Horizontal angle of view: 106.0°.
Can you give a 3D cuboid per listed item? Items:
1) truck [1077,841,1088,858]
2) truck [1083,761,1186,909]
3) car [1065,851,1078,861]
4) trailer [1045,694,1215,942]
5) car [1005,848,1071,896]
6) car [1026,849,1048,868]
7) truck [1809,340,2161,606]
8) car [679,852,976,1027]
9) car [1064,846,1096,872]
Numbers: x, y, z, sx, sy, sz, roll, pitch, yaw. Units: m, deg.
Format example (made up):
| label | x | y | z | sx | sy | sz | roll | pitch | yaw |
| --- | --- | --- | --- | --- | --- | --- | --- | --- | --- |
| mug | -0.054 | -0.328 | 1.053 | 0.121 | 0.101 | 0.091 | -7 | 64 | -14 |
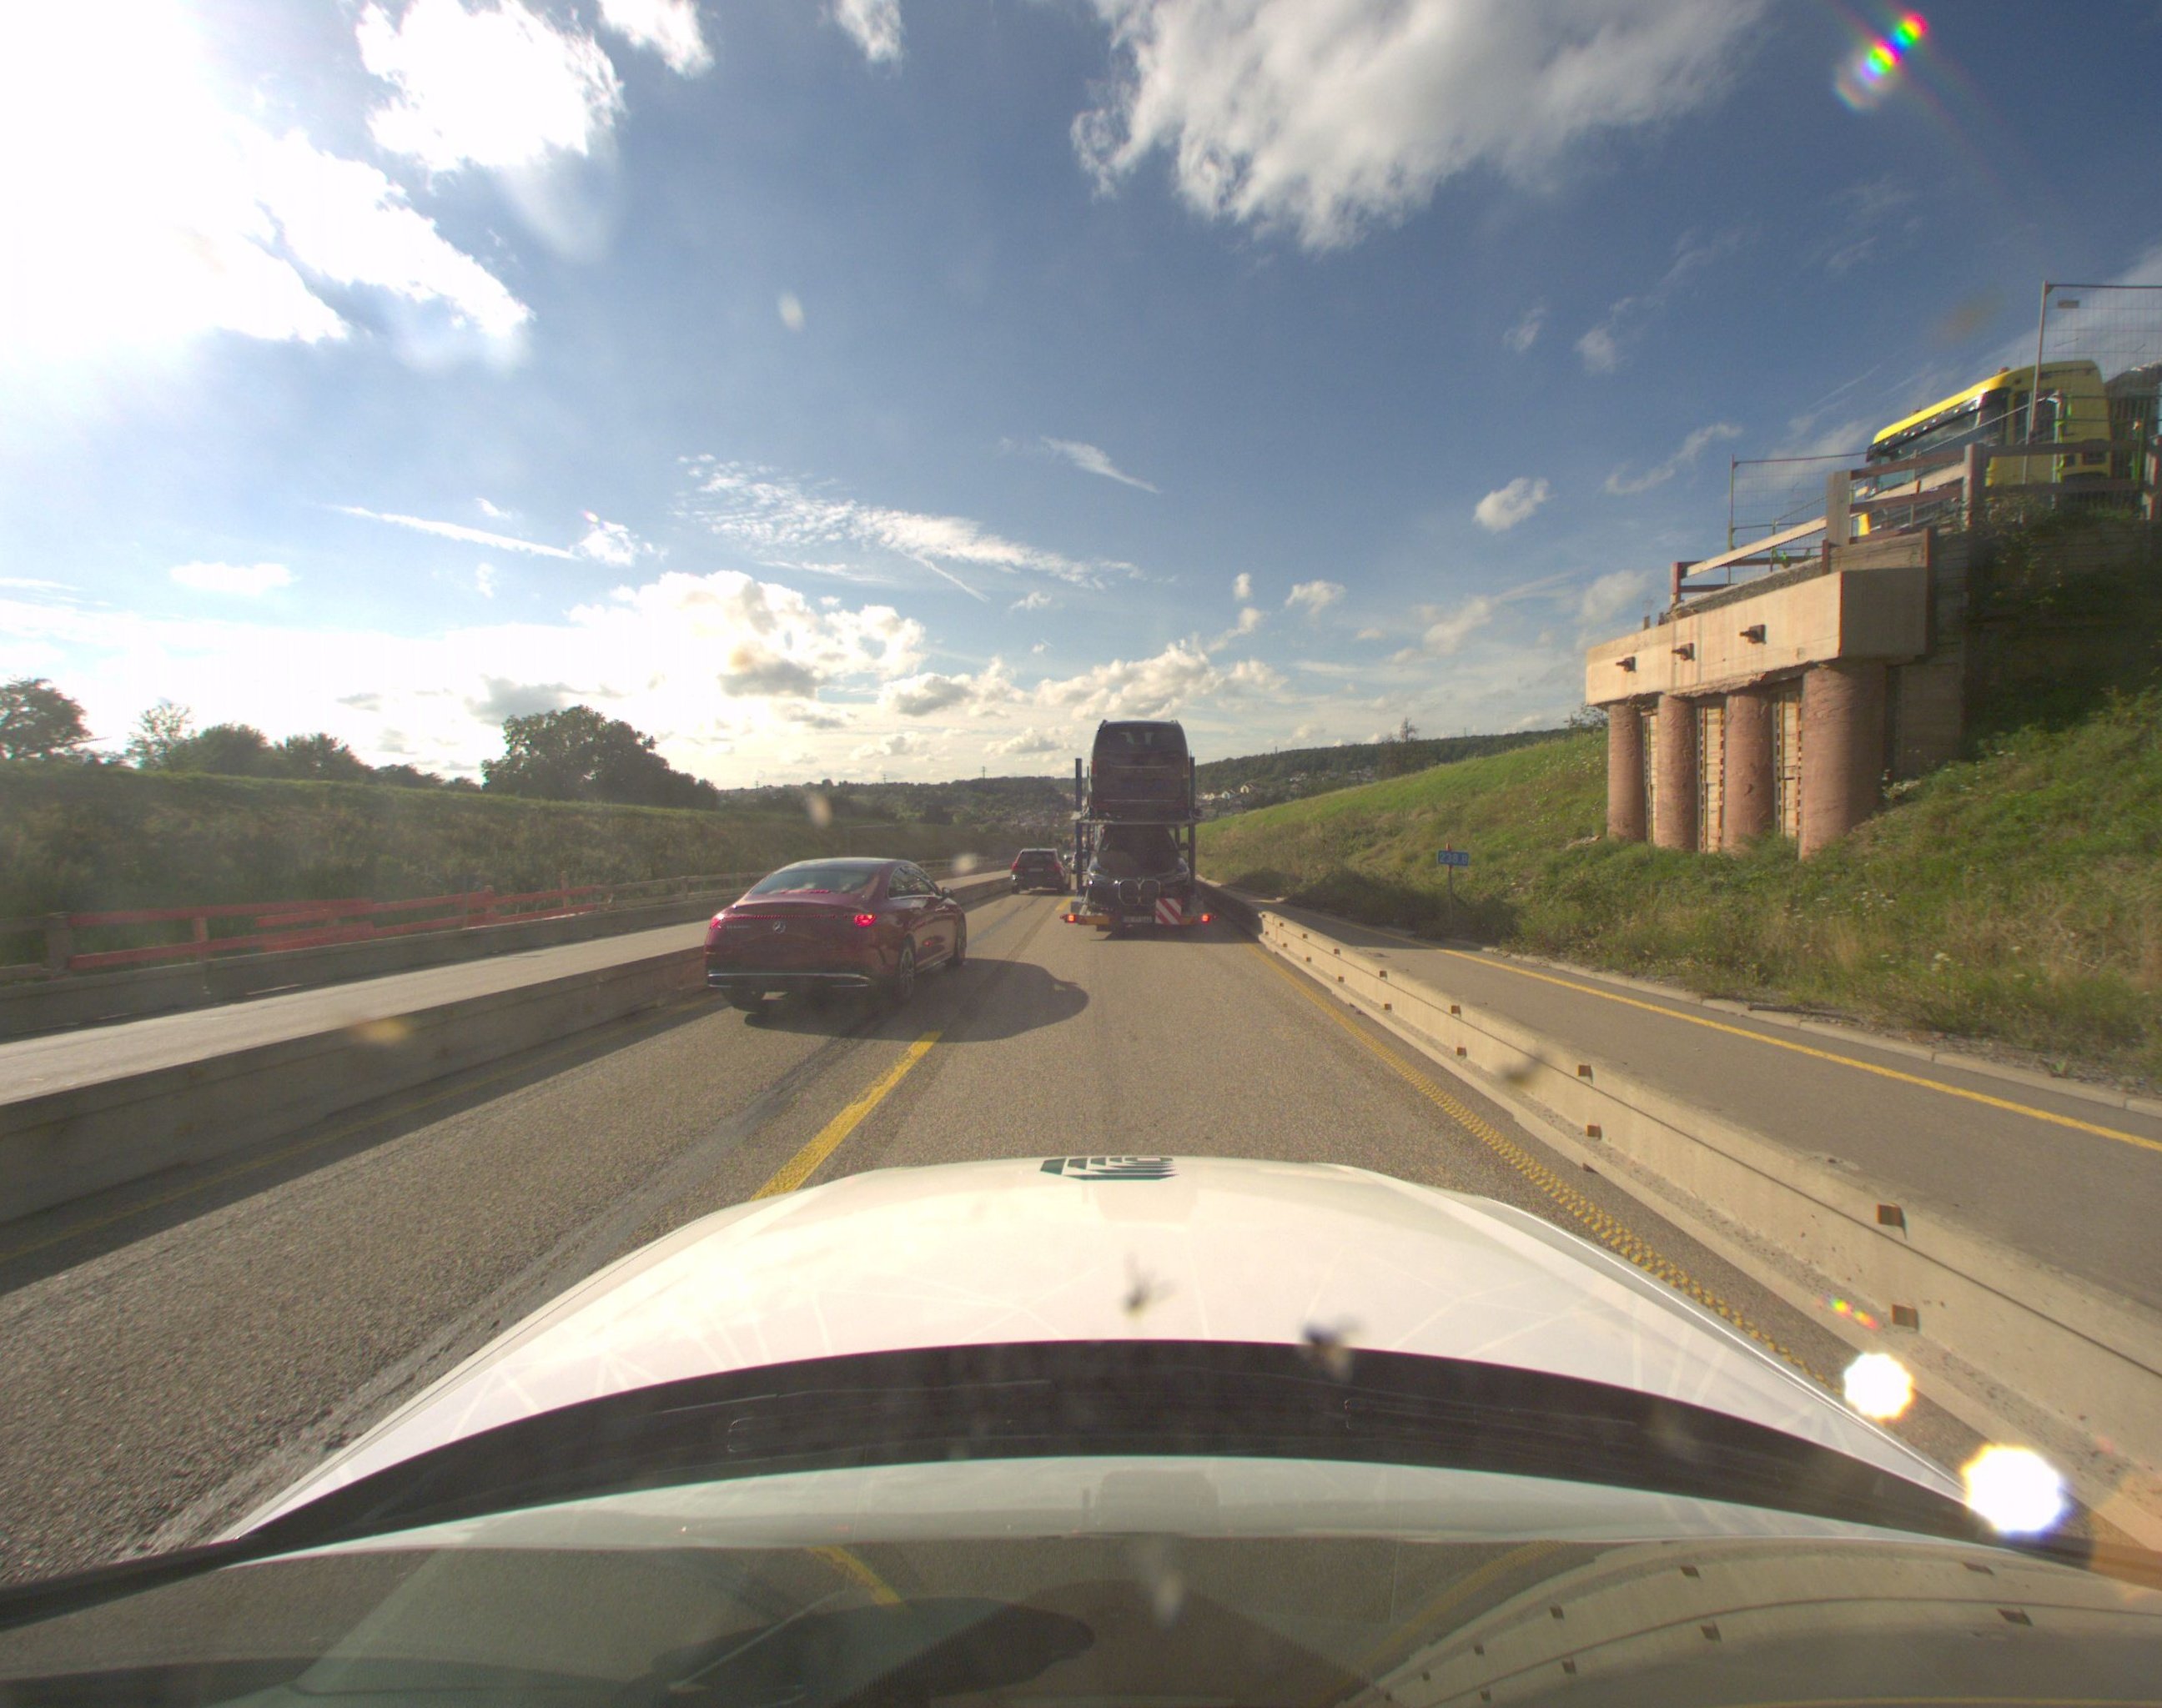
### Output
| label | x | y | z | sx | sy | sz | roll | pitch | yaw |
| --- | --- | --- | --- | --- | --- | --- | --- | --- | --- |
| truck | 0.474 | -1.173 | 200.266 | 2.606 | 4.153 | 5.781 | -1 | 0 | 0 |
| truck | 1.593 | -0.524 | 24.868 | 2.667 | 3.922 | 6.032 | -1 | 0 | 3 |
| car | -1.413 | 0.253 | 124.822 | 1.727 | 1.425 | 4.630 | -4 | 0 | 2 |
| trailer | 1.189 | -0.618 | 19.130 | 2.696 | 4.029 | 11.431 | -1 | 0 | 4 |
| car | -1.505 | 0.597 | 30.293 | 1.986 | 1.625 | 4.753 | -1 | 0 | 2 |
| car | -4.370 | 0.407 | 81.769 | 1.727 | 1.659 | 4.219 | -4 | 1 | 1 |
| truck | 18.750 | -6.534 | 14.311 | 9.231 | 3.227 | 2.960 | -1 | 0 | 0 |
| car | -2.541 | 0.749 | 9.512 | 1.816 | 1.492 | 4.687 | 0 | 1 | 2 |
| car | -0.018 | 0.288 | 54.740 | 1.788 | 1.596 | 4.748 | -2 | 0 | 4 |
